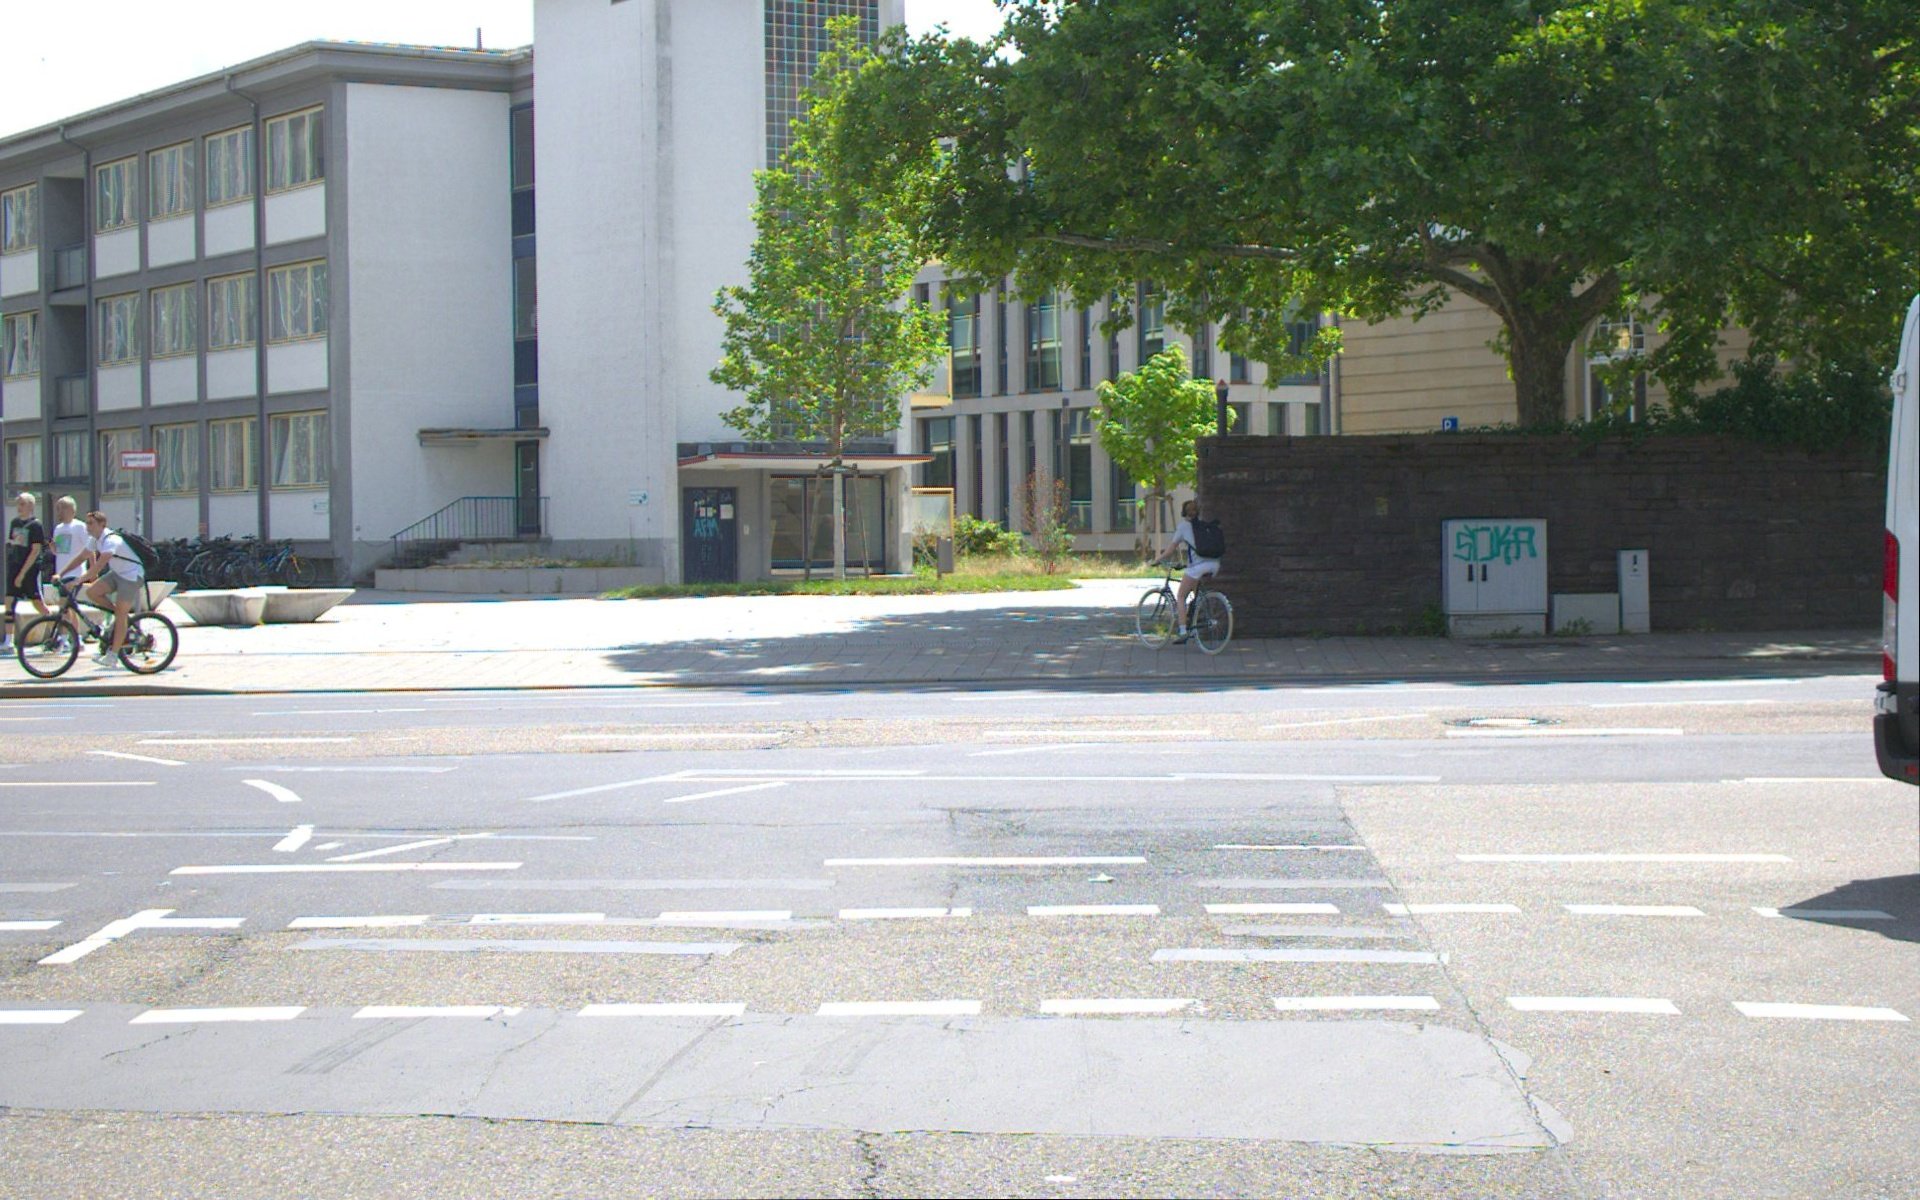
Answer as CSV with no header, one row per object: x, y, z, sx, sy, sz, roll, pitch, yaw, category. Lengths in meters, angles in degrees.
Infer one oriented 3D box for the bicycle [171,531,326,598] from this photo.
-14.735,-0.744,71.224,2.956,1.359,1.117,-1,1,-38,bicycle

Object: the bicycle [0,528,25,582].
-24.824,-1.118,85.270,2.956,1.359,1.117,-1,1,-38,bicycle

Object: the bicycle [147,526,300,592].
-15.490,-0.869,72.320,2.956,1.359,1.117,-1,1,-38,bicycle

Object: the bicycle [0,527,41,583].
-24.107,-1.098,84.093,2.956,1.359,1.117,-1,1,-38,bicycle

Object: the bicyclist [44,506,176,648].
-8.917,-0.247,36.089,0.850,1.463,1.067,0,1,22,bicyclist

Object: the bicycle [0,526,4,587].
-25.849,-1.100,87.015,2.956,1.569,1.117,-1,1,-38,bicycle

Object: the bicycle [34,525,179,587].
-19.054,-0.985,76.807,2.956,1.359,1.117,-1,1,-38,bicycle

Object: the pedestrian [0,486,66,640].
-11.100,-0.448,40.845,0.668,1.808,0.816,-1,1,-34,pedestrian

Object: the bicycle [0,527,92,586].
-22.031,-1.023,80.774,2.956,1.359,1.117,-1,1,-38,bicycle

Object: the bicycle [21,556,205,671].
-8.892,0.125,36.157,0.848,1.141,1.993,0,1,22,bicycle

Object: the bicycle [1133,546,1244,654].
2.488,-0.016,37.673,0.550,1.127,2.175,-1,1,-14,bicycle

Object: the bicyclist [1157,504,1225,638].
2.519,-0.324,37.530,0.514,1.447,0.787,-1,1,-14,bicyclist

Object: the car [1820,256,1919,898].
6.389,-0.164,14.931,5.585,2.557,2.102,-2,3,-37,car

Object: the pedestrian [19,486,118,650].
-10.435,-0.384,40.248,0.865,1.882,0.913,-1,1,-32,pedestrian

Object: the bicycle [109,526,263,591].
-16.552,-0.892,73.580,2.956,1.359,1.275,-1,1,-38,bicycle

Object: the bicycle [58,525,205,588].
-18.251,-0.969,75.753,2.956,1.359,1.117,-1,1,-38,bicycle

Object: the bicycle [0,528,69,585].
-22.948,-1.050,82.254,2.956,1.359,1.117,-1,1,-38,bicycle

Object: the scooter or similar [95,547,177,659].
-9.295,0.011,38.739,0.716,1.174,2.726,-1,2,-17,scooter or similar
